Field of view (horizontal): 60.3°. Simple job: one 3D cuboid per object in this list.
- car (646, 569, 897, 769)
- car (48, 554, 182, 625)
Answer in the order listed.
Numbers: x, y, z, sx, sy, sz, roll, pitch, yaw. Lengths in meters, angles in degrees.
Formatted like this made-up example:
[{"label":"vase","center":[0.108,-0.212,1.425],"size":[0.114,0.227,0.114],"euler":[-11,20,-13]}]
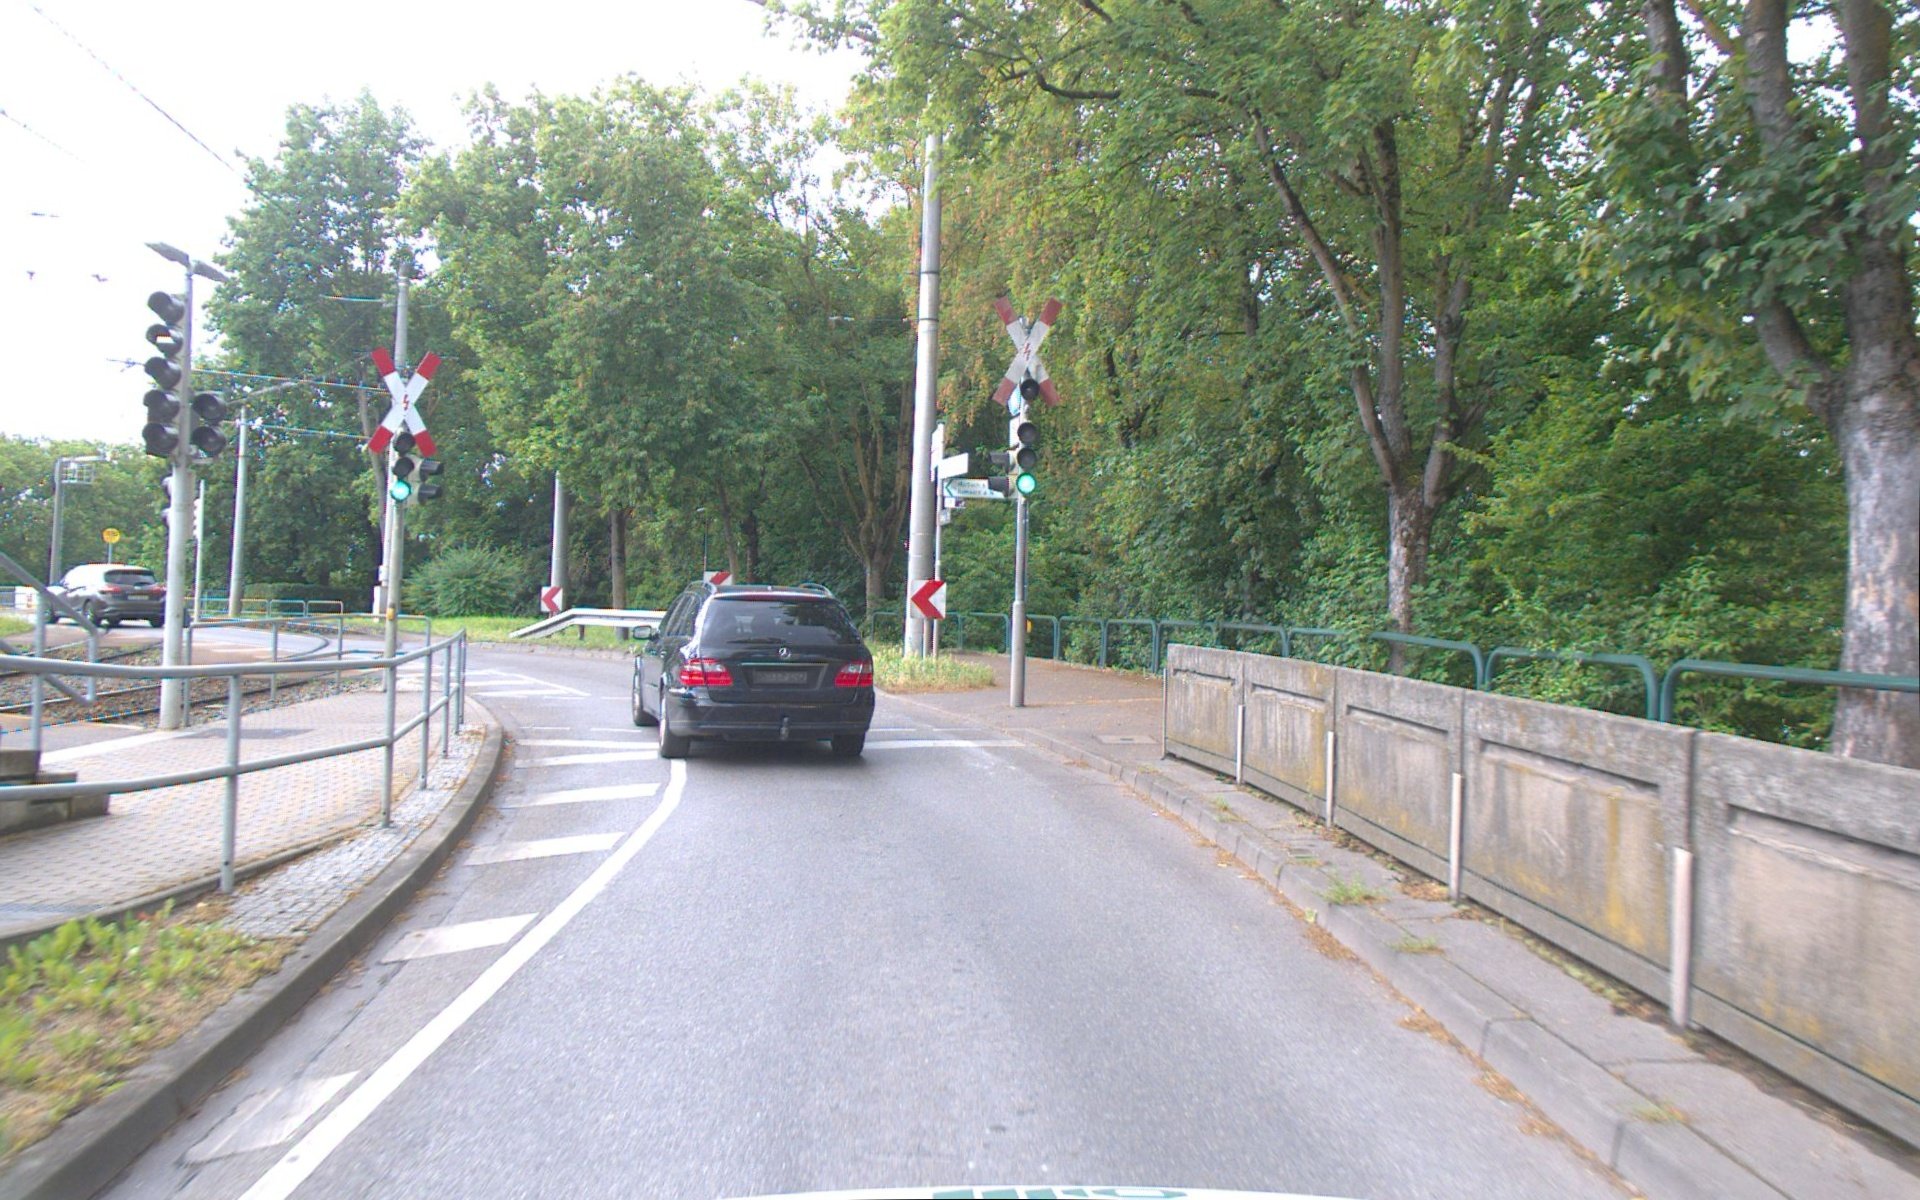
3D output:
[{"label":"car","center":[-1.874,0.524,15.328],"size":[1.752,1.552,3.985],"euler":[1,1,-15]},{"label":"car","center":[-21.293,-0.283,41.615],"size":[3.931,1.677,1.776],"euler":[2,1,43]}]
